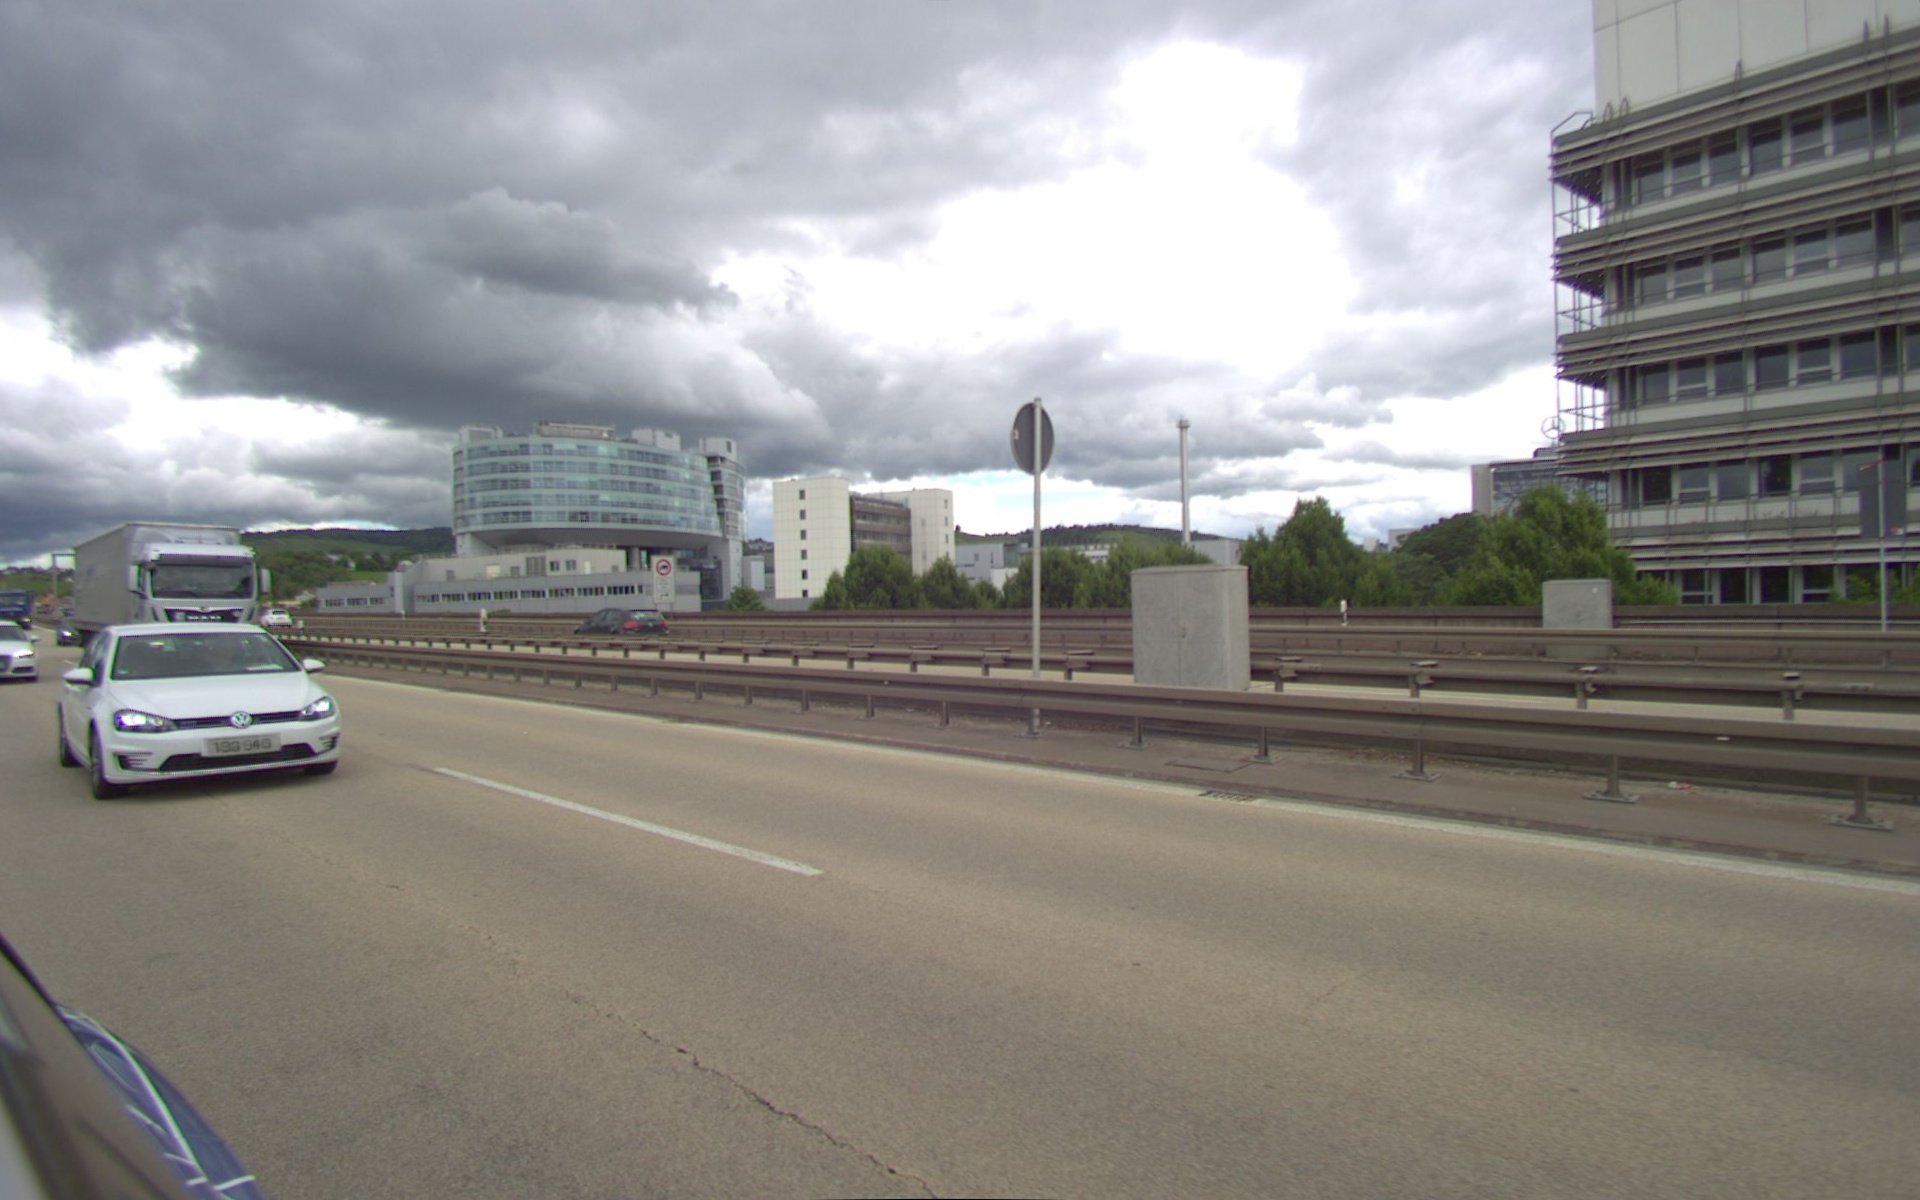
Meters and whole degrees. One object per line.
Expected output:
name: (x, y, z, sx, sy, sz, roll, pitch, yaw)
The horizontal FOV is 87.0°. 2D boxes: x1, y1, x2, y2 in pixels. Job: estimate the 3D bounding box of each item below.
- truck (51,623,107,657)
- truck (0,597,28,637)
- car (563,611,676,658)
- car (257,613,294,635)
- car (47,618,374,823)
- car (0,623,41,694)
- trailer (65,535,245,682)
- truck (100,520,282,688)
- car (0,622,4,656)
truck: (-43.158, 1.914, 49.551, 3.514, 1.541, 1.804, -1, -1, 44)
truck: (-80.047, 1.380, 84.941, 6.689, 3.262, 2.304, -1, -1, 44)
car: (-11.276, 1.091, 33.416, 4.231, 1.387, 1.767, -1, 1, 44)
car: (-55.387, 1.951, 81.865, 3.776, 1.662, 1.664, -1, 1, 44)
car: (-7.361, 0.954, 9.788, 4.062, 1.519, 1.904, -1, -1, 44)
car: (-22.877, 1.339, 23.572, 4.062, 1.519, 1.904, -1, 1, 44)
trailer: (-26.640, 0.253, 33.154, 11.770, 4.056, 3.146, -1, 1, 45)
truck: (-21.128, 0.080, 27.704, 5.690, 4.067, 3.099, -1, 1, 44)
car: (-48.488, 1.941, 49.774, 4.062, 1.606, 1.904, -1, 1, 44)
